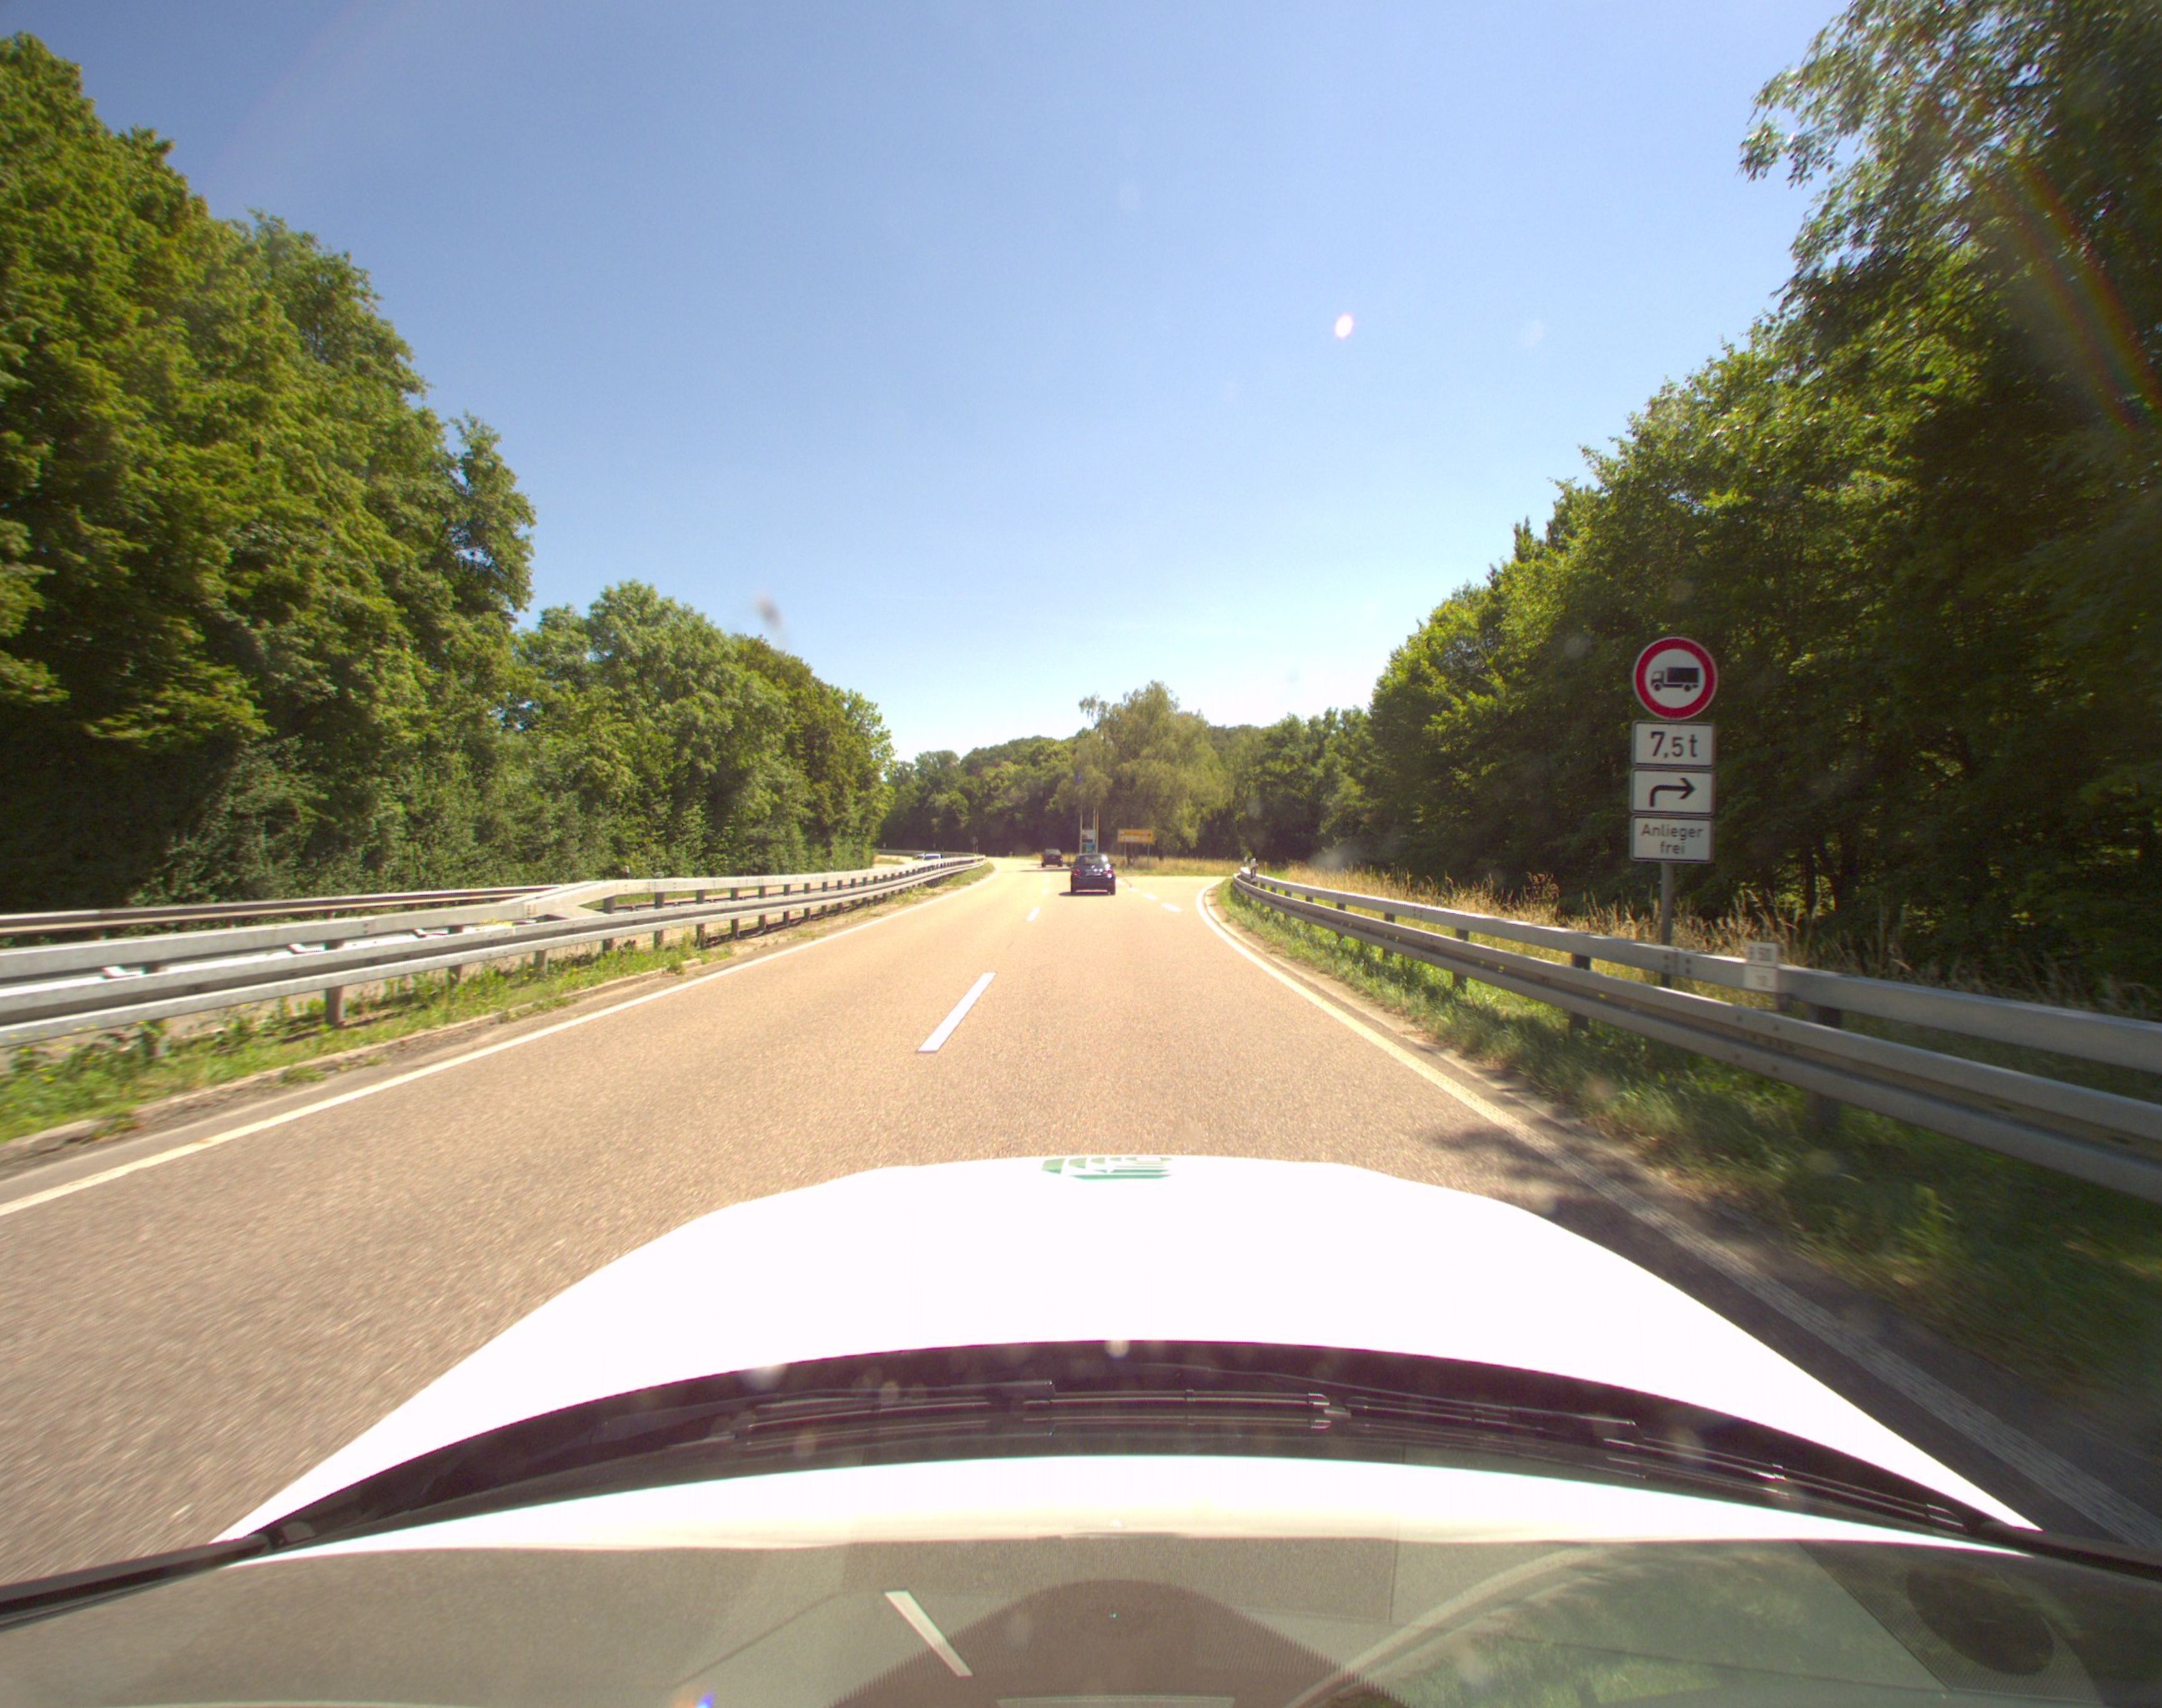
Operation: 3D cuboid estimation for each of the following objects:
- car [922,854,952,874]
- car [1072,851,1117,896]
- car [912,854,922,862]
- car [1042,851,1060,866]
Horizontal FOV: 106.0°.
[{"bbox_3d":[-12.256,0.810,69.526,1.750,1.573,4.412,-1,0,0],"label":"car"},{"bbox_3d":[0.538,0.674,30.099,1.507,1.501,3.592,-1,0,2],"label":"car"},{"bbox_3d":[-31.326,0.718,155.427,1.444,1.381,3.827,-1,0,-17],"label":"car"},{"bbox_3d":[-2.779,0.438,75.836,1.523,1.313,3.409,-1,0,-5],"label":"car"}]
